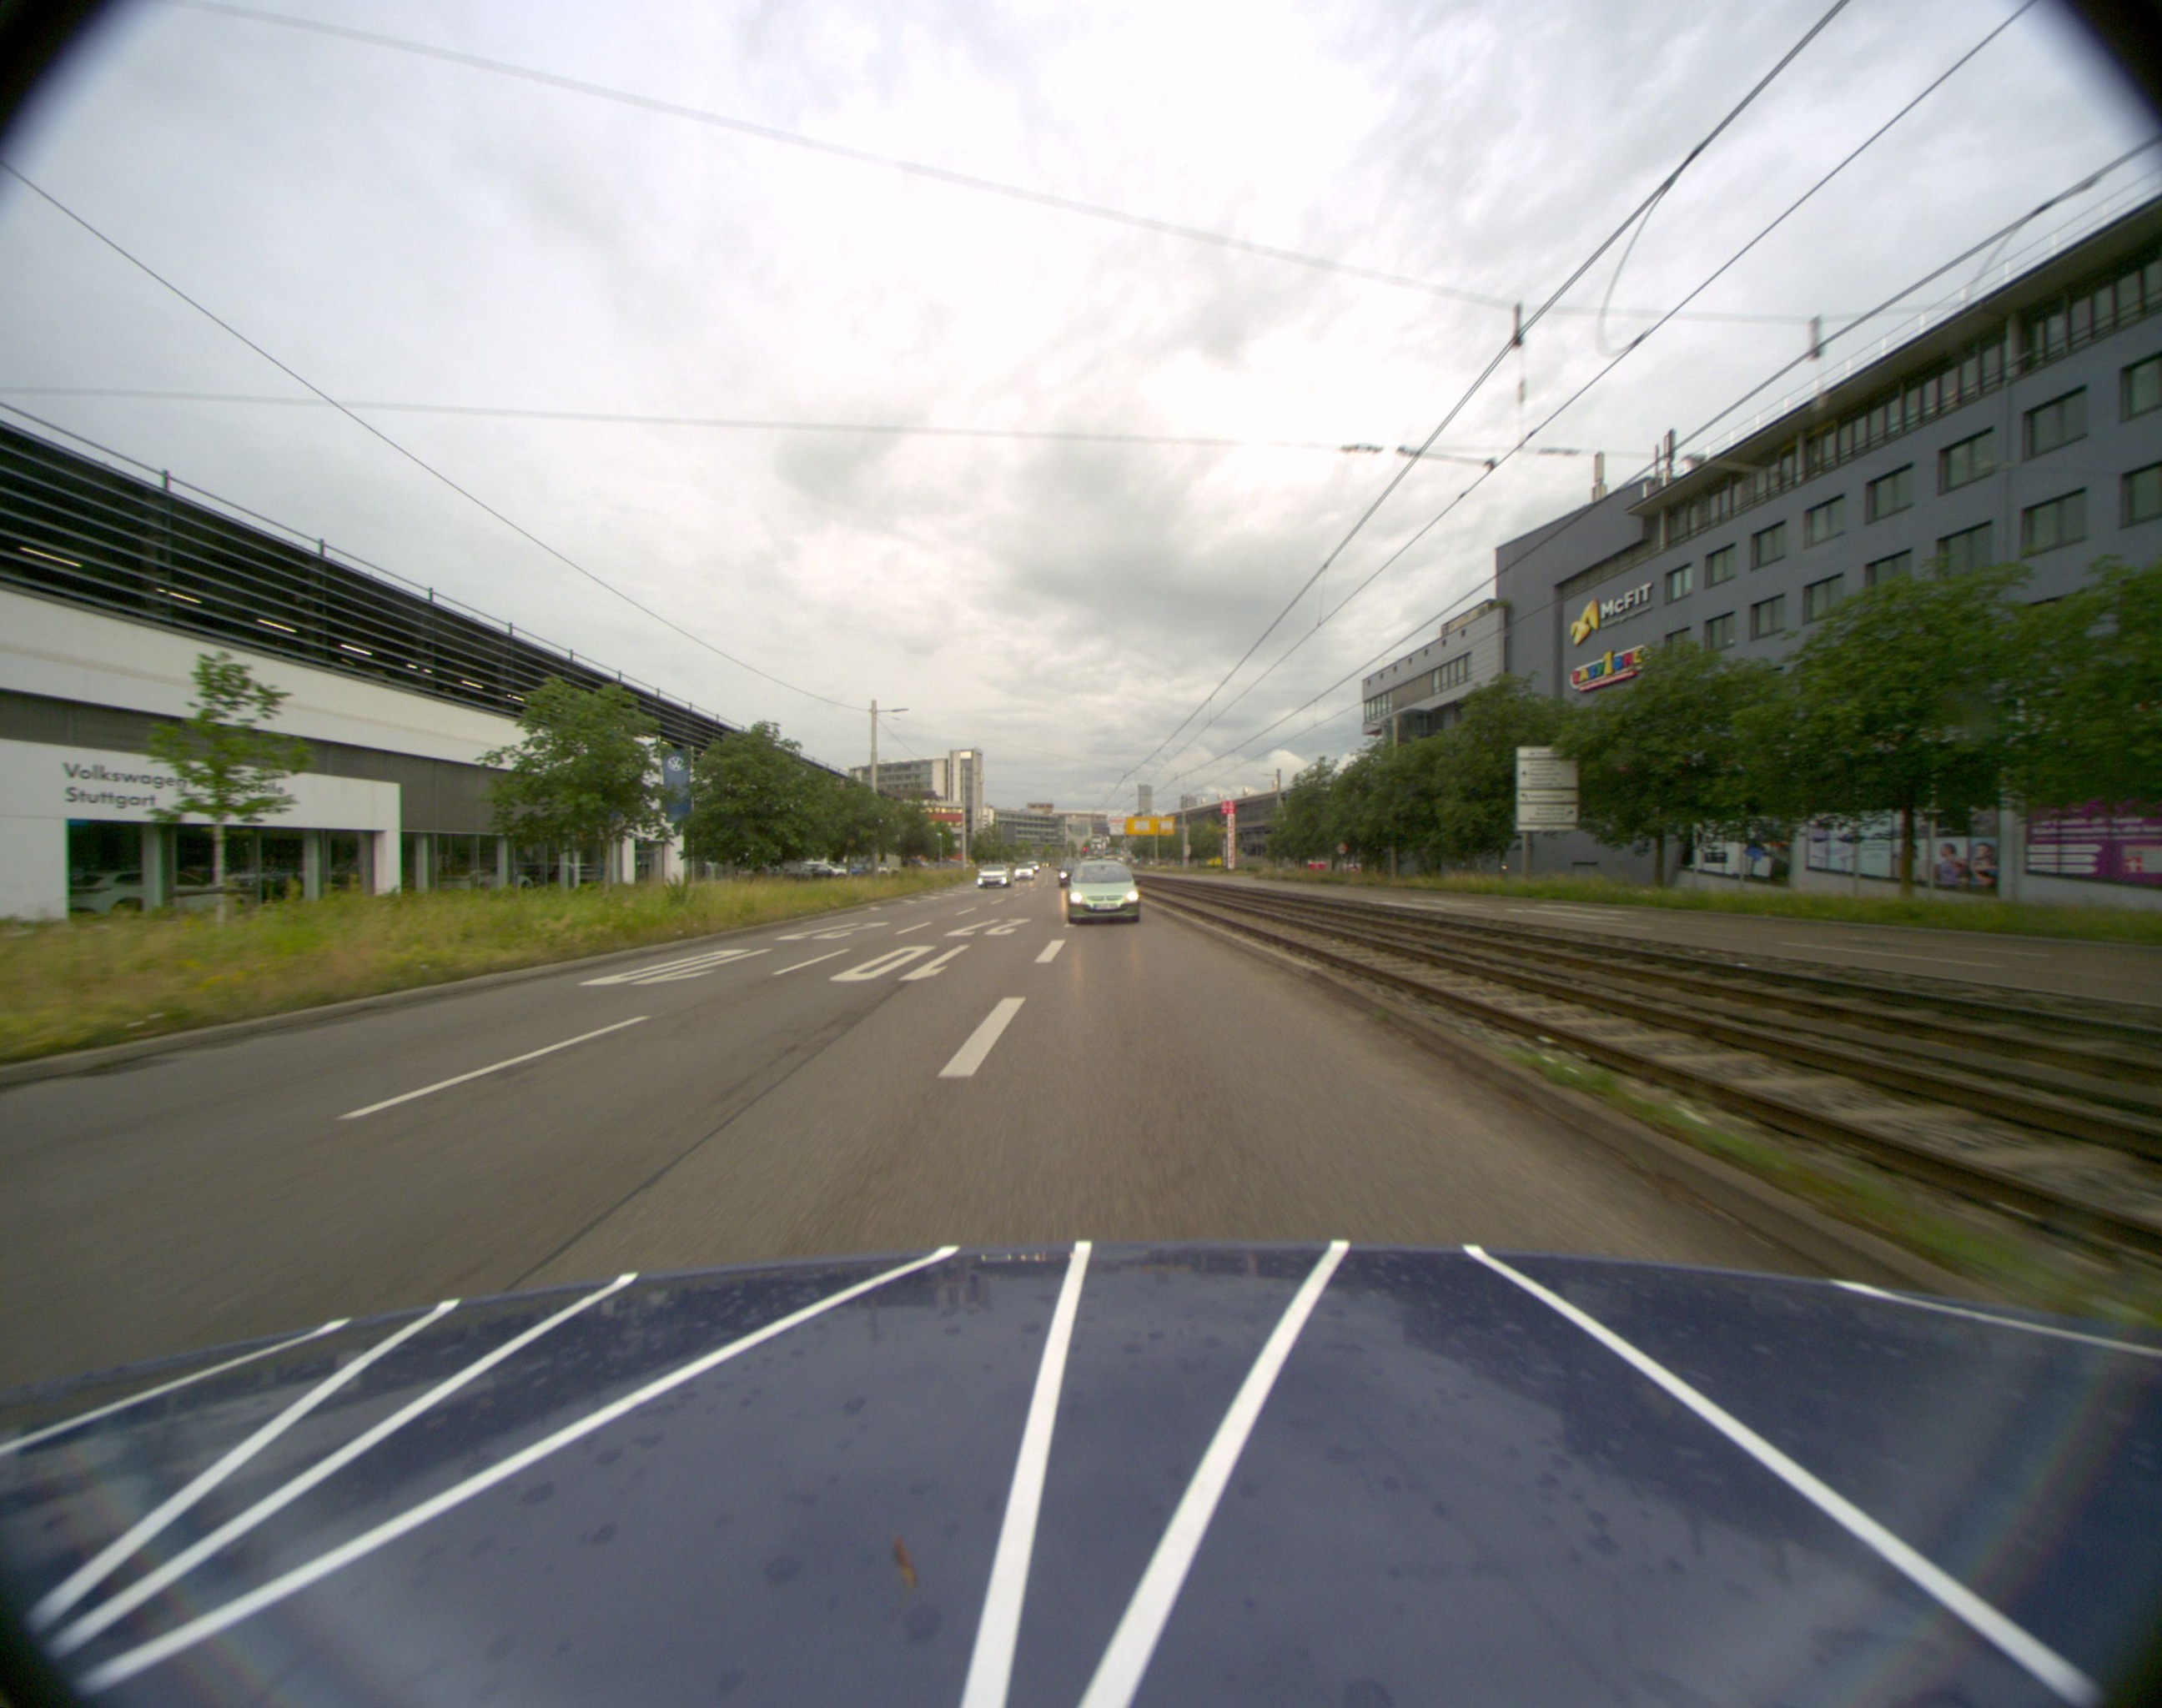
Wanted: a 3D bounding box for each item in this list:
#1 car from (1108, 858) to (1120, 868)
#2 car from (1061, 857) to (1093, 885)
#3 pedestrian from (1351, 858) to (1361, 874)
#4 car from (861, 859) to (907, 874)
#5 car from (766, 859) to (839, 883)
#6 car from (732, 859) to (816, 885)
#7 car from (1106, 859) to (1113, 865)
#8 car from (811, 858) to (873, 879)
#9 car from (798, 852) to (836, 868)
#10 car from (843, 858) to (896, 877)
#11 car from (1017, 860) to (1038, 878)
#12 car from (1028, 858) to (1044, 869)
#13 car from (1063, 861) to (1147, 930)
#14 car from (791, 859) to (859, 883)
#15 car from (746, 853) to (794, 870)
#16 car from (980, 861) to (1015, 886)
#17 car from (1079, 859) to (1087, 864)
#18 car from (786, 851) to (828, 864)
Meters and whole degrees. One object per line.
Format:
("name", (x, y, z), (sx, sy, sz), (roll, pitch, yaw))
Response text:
("car", (6.745, 1.845, 154.829), (1.999, 1.725, 4.213), (2, -2, -1))
("car", (-0.275, 0.988, 45.263), (1.762, 1.535, 3.713), (-3, 0, -2))
("pedestrian", (29.948, 1.301, 82.642), (0.810, 1.669, 0.580), (0, 0, -13))
("car", (-19.766, 1.242, 76.198), (4.108, 1.457, 1.743), (1, 1, -36))
("car", (-19.072, 1.182, 52.172), (4.384, 1.559, 1.794), (1, 1, -34))
("car", (-19.507, 1.146, 48.313), (4.634, 1.559, 1.847), (1, 1, -33))
("car", (7.657, 2.143, 203.931), (1.602, 1.529, 2.948), (2, 3, -2))
("car", (-18.579, 1.127, 59.062), (4.198, 1.559, 1.794), (1, 1, -38))
("car", (-32.631, 0.752, 94.094), (4.038, 1.964, 1.944), (0, 0, -4))
("car", (-18.582, 1.187, 66.817), (4.108, 1.559, 1.794), (1, 1, -39))
("car", (-4.919, 1.325, 70.019), (1.819, 1.584, 3.835), (-1, 0, -2))
("car", (-6.881, 1.392, 116.426), (1.890, 1.584, 3.982), (-1, 0, 2))
("car", (0.497, 0.960, 19.376), (1.762, 1.489, 4.136), (-2, 0, -3))
("car", (-18.737, 1.247, 55.606), (4.363, 1.617, 1.851), (1, 1, -33))
("car", (-30.881, 0.715, 75.519), (3.997, 1.499, 1.785), (-3, 0, -1))
("car", (-5.322, 1.237, 48.825), (1.879, 1.485, 3.836), (-1, 0, -2))
("car", (0.496, 2.143, 210.322), (1.807, 1.420, 4.235), (1, -1, -3))
("car", (-30.359, 0.344, 84.194), (3.998, 1.416, 1.763), (0, 0, -4))
